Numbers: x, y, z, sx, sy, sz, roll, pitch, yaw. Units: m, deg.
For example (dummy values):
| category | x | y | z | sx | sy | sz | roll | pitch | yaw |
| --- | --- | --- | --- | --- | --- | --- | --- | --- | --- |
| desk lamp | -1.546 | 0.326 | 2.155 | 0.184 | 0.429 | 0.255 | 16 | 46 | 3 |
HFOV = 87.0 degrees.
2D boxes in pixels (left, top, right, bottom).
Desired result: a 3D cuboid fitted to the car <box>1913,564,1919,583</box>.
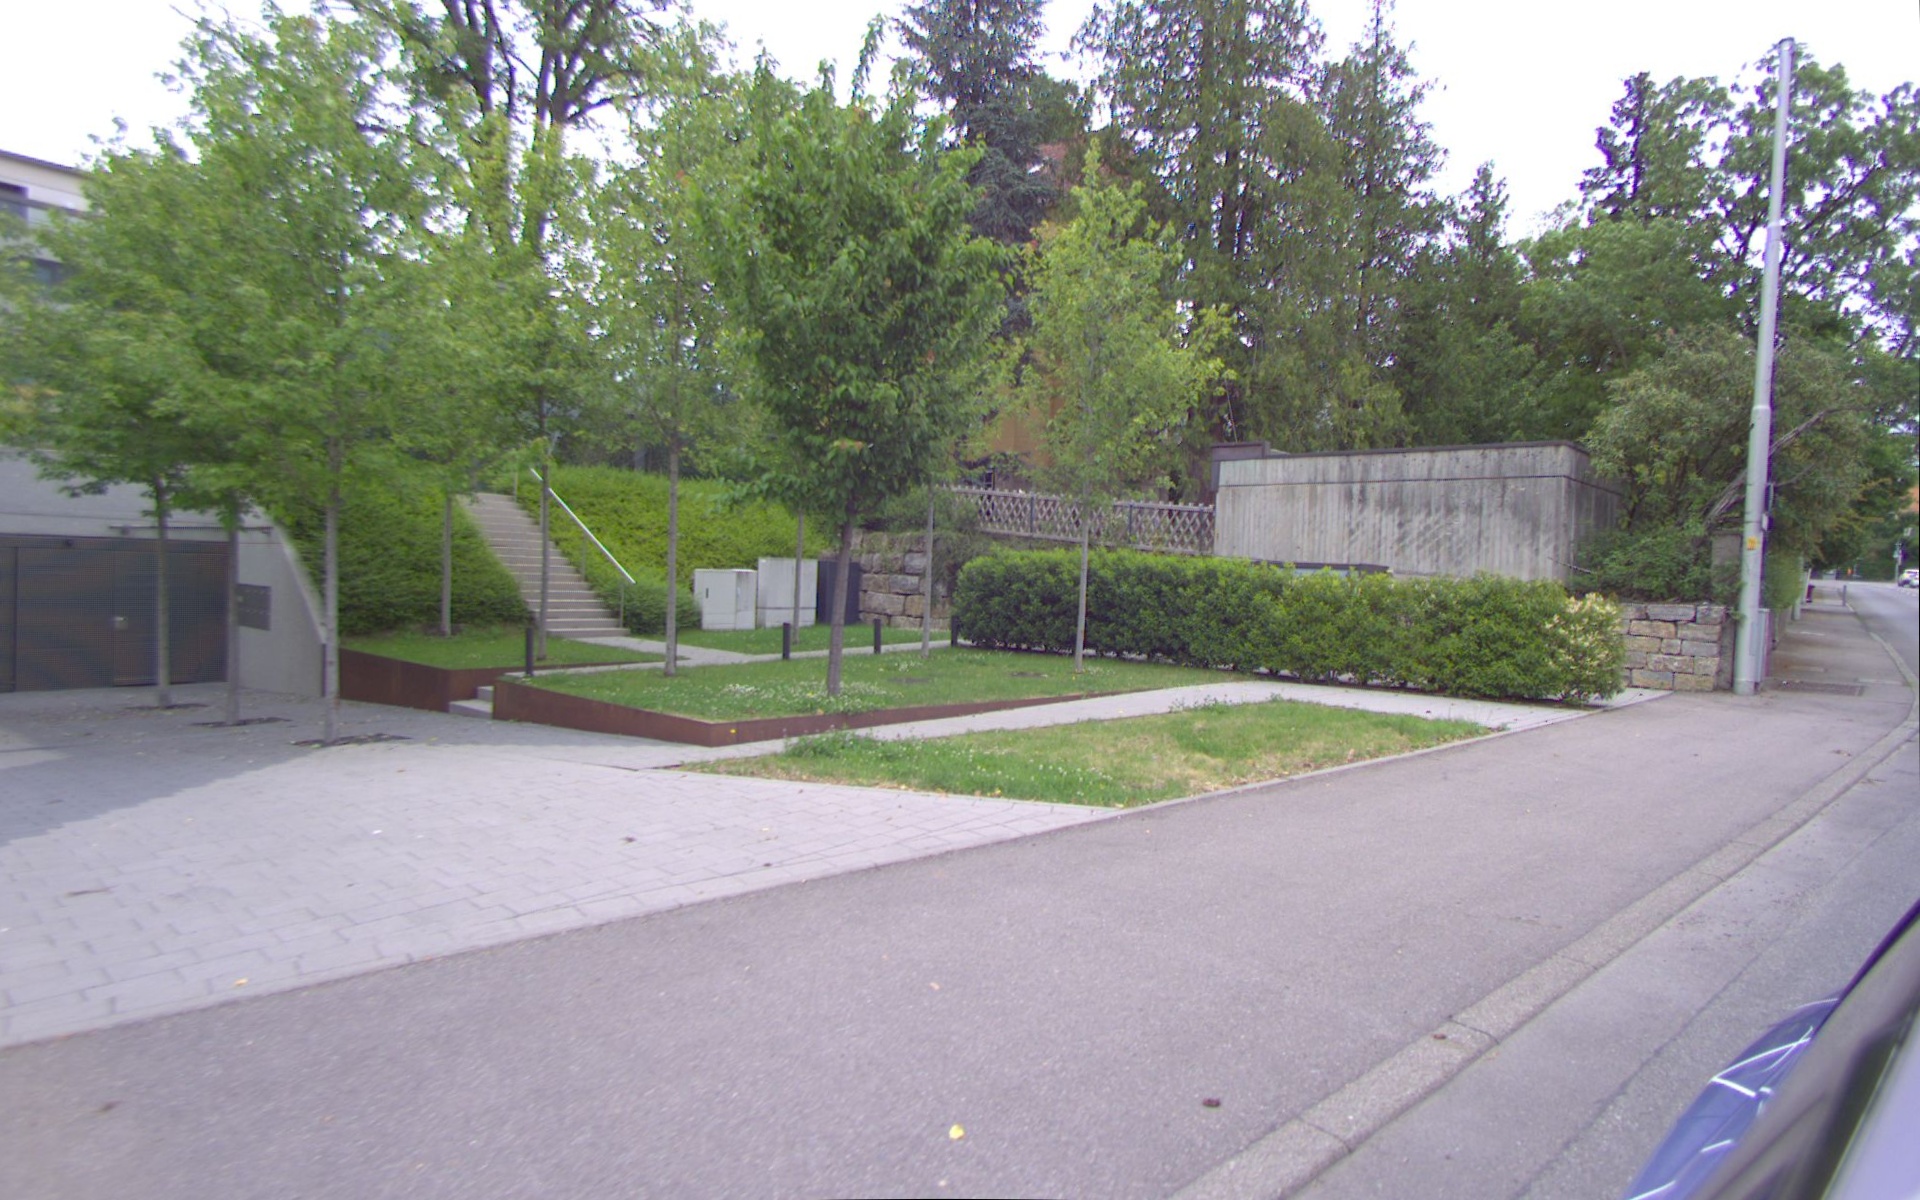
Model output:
| category | x | y | z | sx | sy | sz | roll | pitch | yaw |
| --- | --- | --- | --- | --- | --- | --- | --- | --- | --- |
| car | 89.018 | -2.373 | 92.720 | 1.989 | 1.732 | 3.948 | 3 | 3 | 36 |
